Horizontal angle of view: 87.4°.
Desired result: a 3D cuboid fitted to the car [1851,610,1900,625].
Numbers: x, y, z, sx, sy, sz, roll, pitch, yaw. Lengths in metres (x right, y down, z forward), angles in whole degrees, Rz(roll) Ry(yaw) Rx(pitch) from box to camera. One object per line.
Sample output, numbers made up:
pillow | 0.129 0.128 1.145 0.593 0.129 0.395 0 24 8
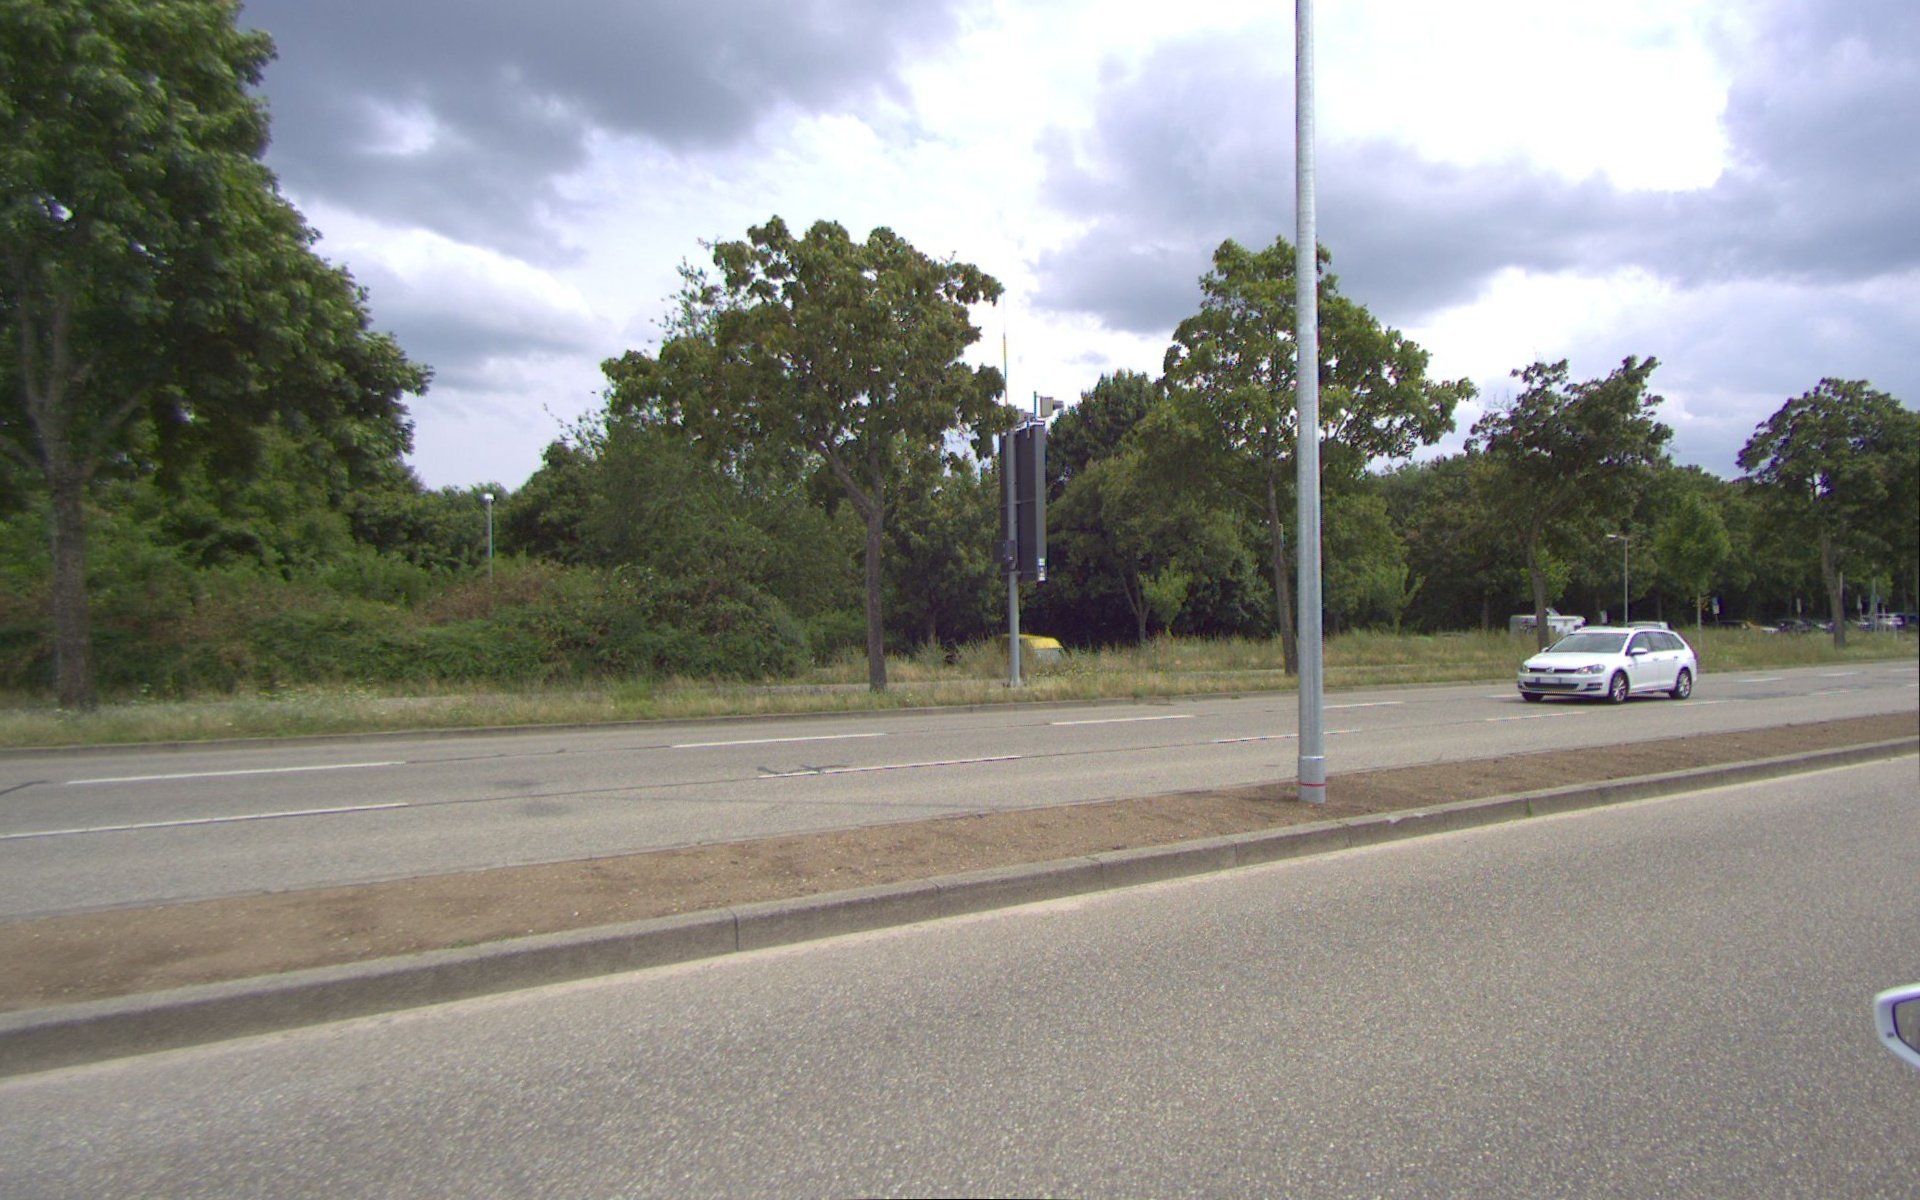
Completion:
car | 99.519 1.906 109.210 1.860 1.539 3.632 -1 0 -30

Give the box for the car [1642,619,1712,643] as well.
car | 55.364 2.361 77.646 2.023 1.736 3.966 -1 0 -32

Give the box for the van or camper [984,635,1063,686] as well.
van or camper | 2.880 2.738 46.453 1.971 2.040 4.345 1 0 -21

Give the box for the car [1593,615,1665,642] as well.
car | 49.452 2.105 74.295 1.917 1.912 3.966 -1 0 -32

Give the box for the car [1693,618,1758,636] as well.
car | 65.532 2.328 86.047 1.976 1.468 3.969 -1 0 -30

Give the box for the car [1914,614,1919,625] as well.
car | 115.818 2.293 119.269 1.425 1.248 3.350 -1 0 -31

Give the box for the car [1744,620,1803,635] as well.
car | 75.221 2.519 92.912 1.546 1.276 3.966 -1 0 -31

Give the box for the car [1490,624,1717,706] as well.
car | 13.113 1.254 20.425 4.632 1.449 1.985 0 -2 -30

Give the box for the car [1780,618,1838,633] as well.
car | 82.537 2.502 97.667 1.647 1.378 3.968 -1 0 -30

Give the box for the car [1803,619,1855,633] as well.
car | 87.050 2.563 100.657 1.688 1.378 3.629 -1 0 -30

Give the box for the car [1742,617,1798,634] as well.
car | 72.662 2.295 90.114 1.499 1.430 3.632 -1 0 -30

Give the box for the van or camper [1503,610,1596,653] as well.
van or camper | 38.870 2.026 66.183 6.645 2.575 2.458 -1 0 -32

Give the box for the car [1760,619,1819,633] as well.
car | 78.668 2.444 95.313 1.833 1.276 3.966 -1 0 -31
